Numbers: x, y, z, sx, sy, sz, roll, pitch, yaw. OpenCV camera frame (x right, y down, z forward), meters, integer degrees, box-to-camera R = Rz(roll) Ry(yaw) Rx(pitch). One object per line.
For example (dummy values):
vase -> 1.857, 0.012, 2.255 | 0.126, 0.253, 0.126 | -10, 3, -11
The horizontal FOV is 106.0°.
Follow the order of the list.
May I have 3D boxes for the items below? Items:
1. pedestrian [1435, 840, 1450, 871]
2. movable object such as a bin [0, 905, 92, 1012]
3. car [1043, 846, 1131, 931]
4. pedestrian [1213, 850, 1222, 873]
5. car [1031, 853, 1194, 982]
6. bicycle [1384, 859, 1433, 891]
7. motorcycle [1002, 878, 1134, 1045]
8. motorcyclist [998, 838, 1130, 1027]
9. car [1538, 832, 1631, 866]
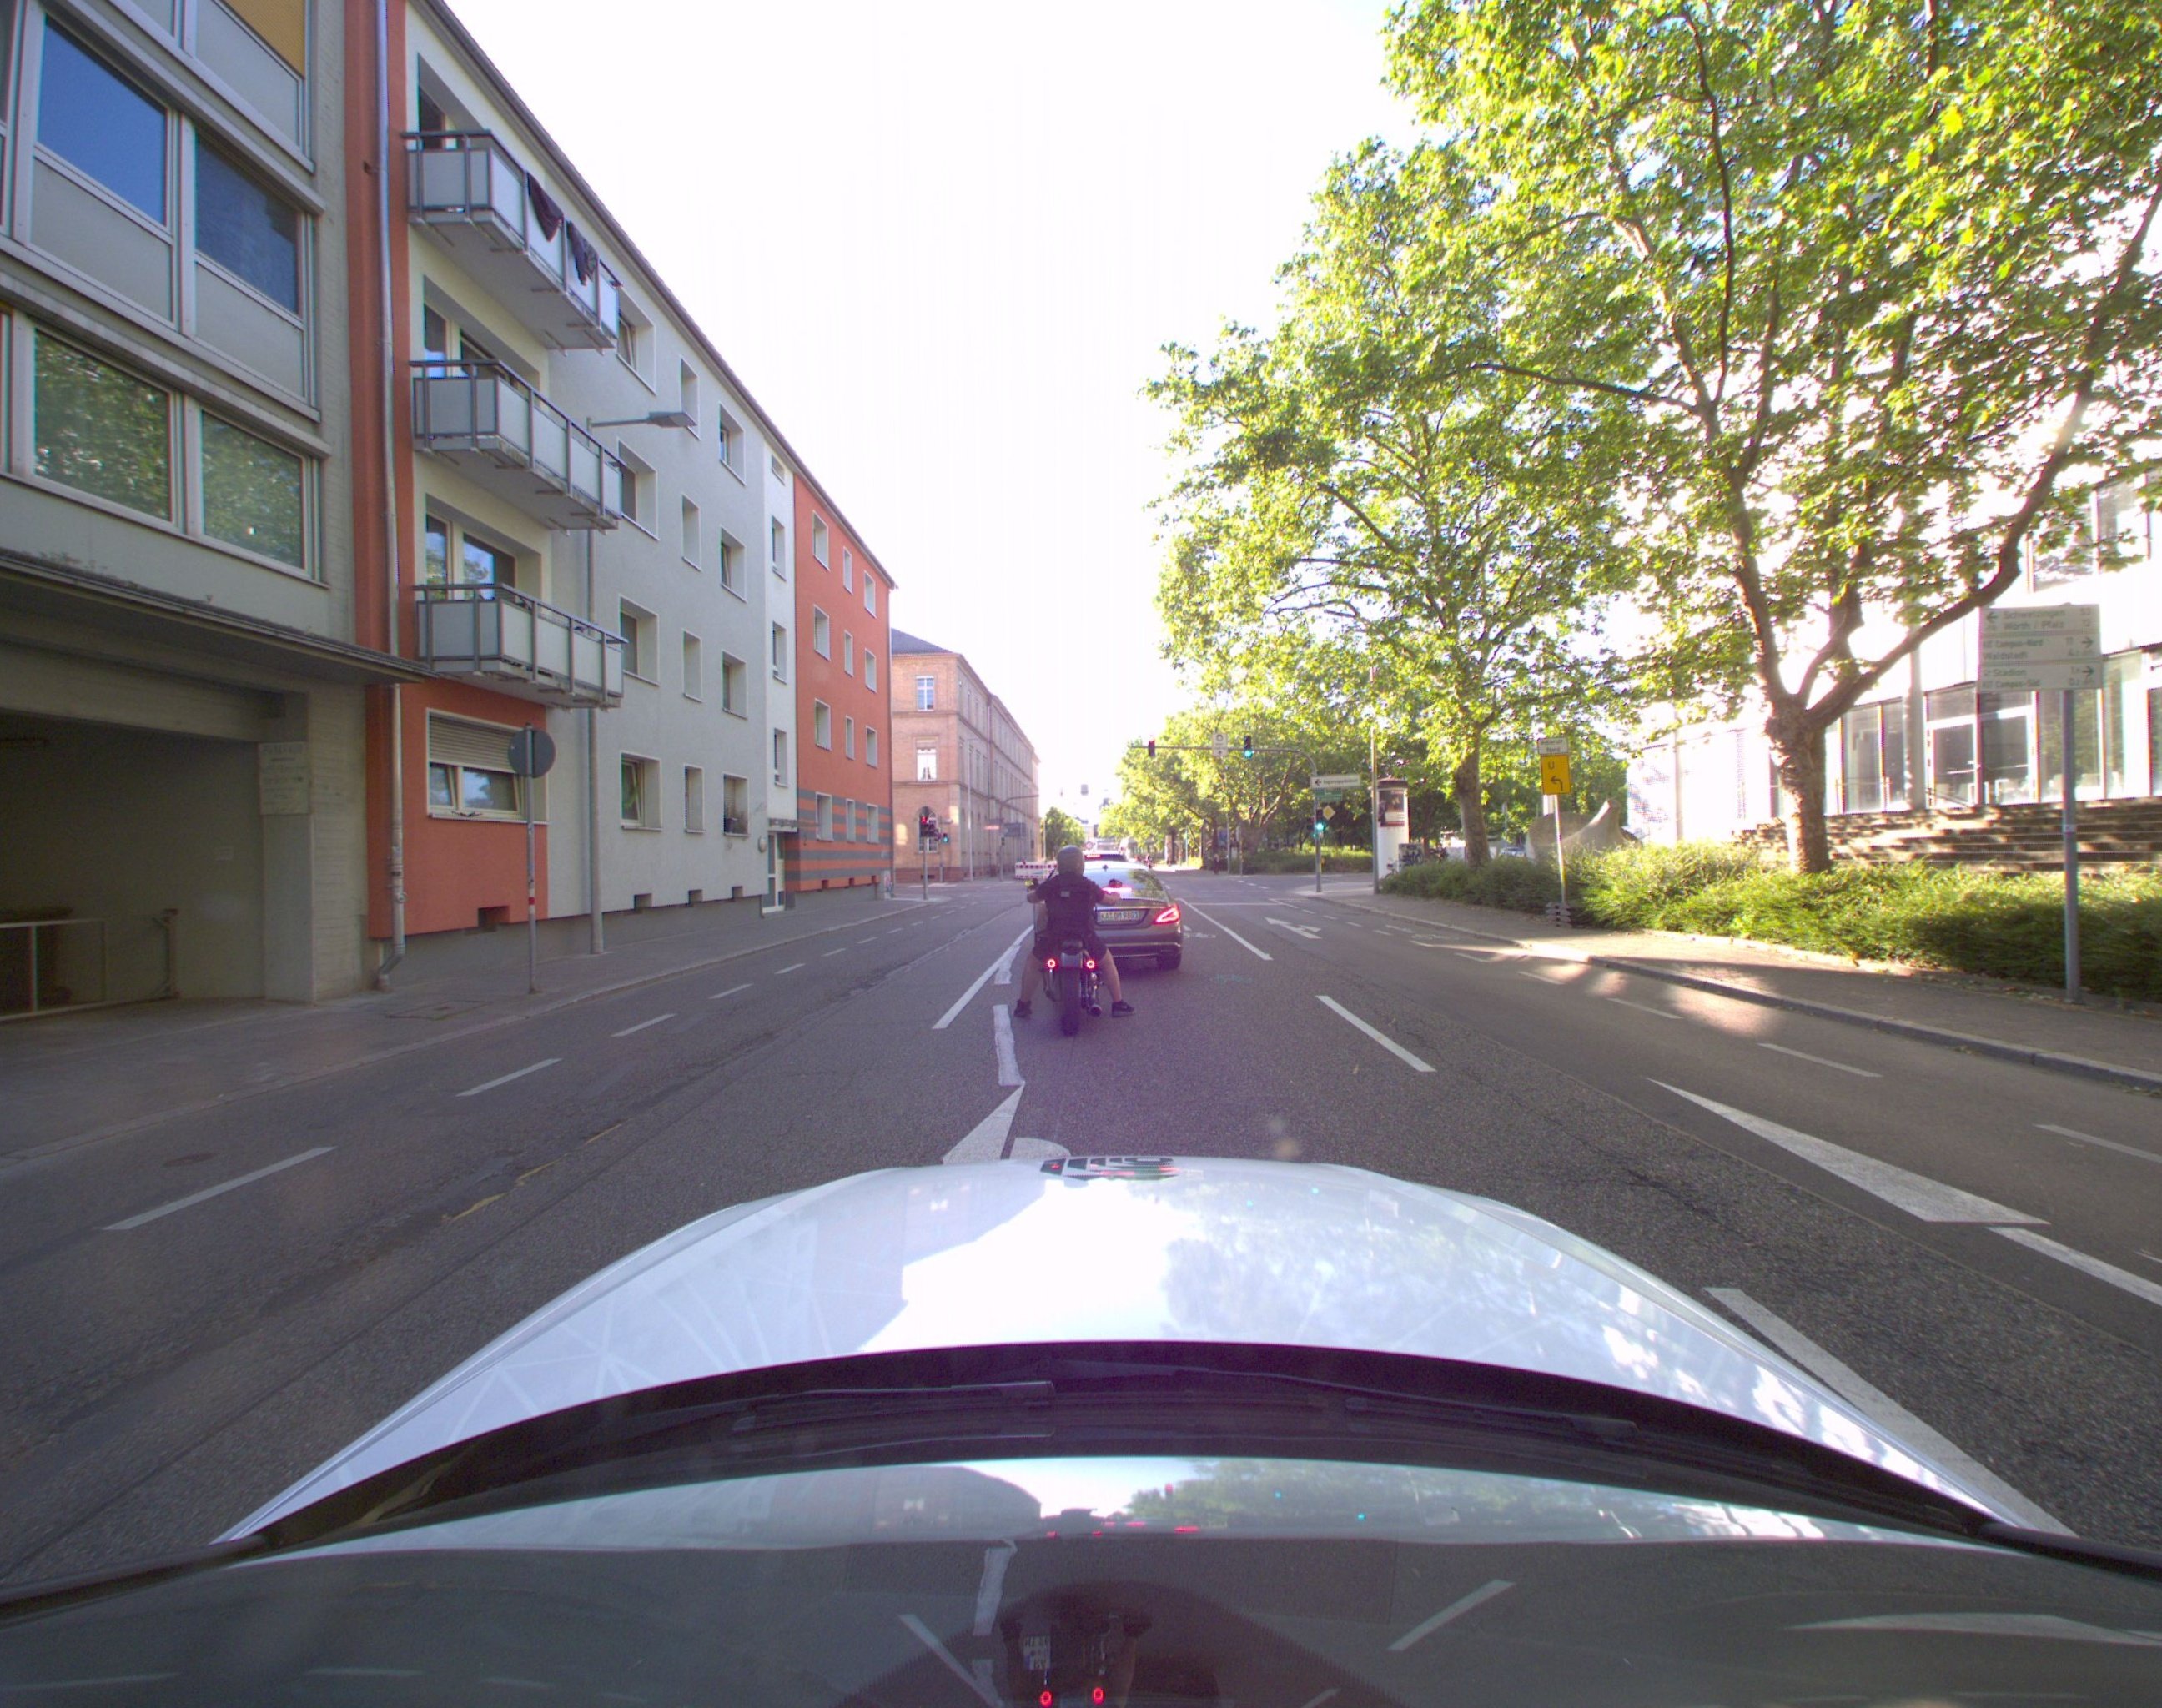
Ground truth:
pedestrian -> 21.212, 0.097, 47.813 | 0.617, 1.784, 0.631 | -1, 0, 4
movable object such as a bin -> -11.257, 1.095, 8.661 | 0.584, 1.040, 0.712 | -1, 0, 2
car -> 0.145, 0.678, 17.798 | 1.676, 1.625, 3.841 | -1, 0, 1
pedestrian -> 10.157, 0.565, 60.489 | 0.557, 1.678, 0.565 | -1, 0, 1
car -> 0.249, 0.754, 11.773 | 1.818, 1.476, 4.346 | -1, 0, -5
bicycle -> 10.980, 0.710, 27.344 | 1.411, 1.037, 0.538 | -1, 0, -2
motorcycle -> -0.062, 0.874, 7.662 | 1.003, 1.204, 2.666 | -1, 0, 2
motorcyclist -> -0.125, 0.677, 7.618 | 1.109, 1.613, 1.202 | -1, 0, 1
car -> 28.179, -0.252, 45.665 | 3.975, 1.784, 2.004 | -1, 0, 7
